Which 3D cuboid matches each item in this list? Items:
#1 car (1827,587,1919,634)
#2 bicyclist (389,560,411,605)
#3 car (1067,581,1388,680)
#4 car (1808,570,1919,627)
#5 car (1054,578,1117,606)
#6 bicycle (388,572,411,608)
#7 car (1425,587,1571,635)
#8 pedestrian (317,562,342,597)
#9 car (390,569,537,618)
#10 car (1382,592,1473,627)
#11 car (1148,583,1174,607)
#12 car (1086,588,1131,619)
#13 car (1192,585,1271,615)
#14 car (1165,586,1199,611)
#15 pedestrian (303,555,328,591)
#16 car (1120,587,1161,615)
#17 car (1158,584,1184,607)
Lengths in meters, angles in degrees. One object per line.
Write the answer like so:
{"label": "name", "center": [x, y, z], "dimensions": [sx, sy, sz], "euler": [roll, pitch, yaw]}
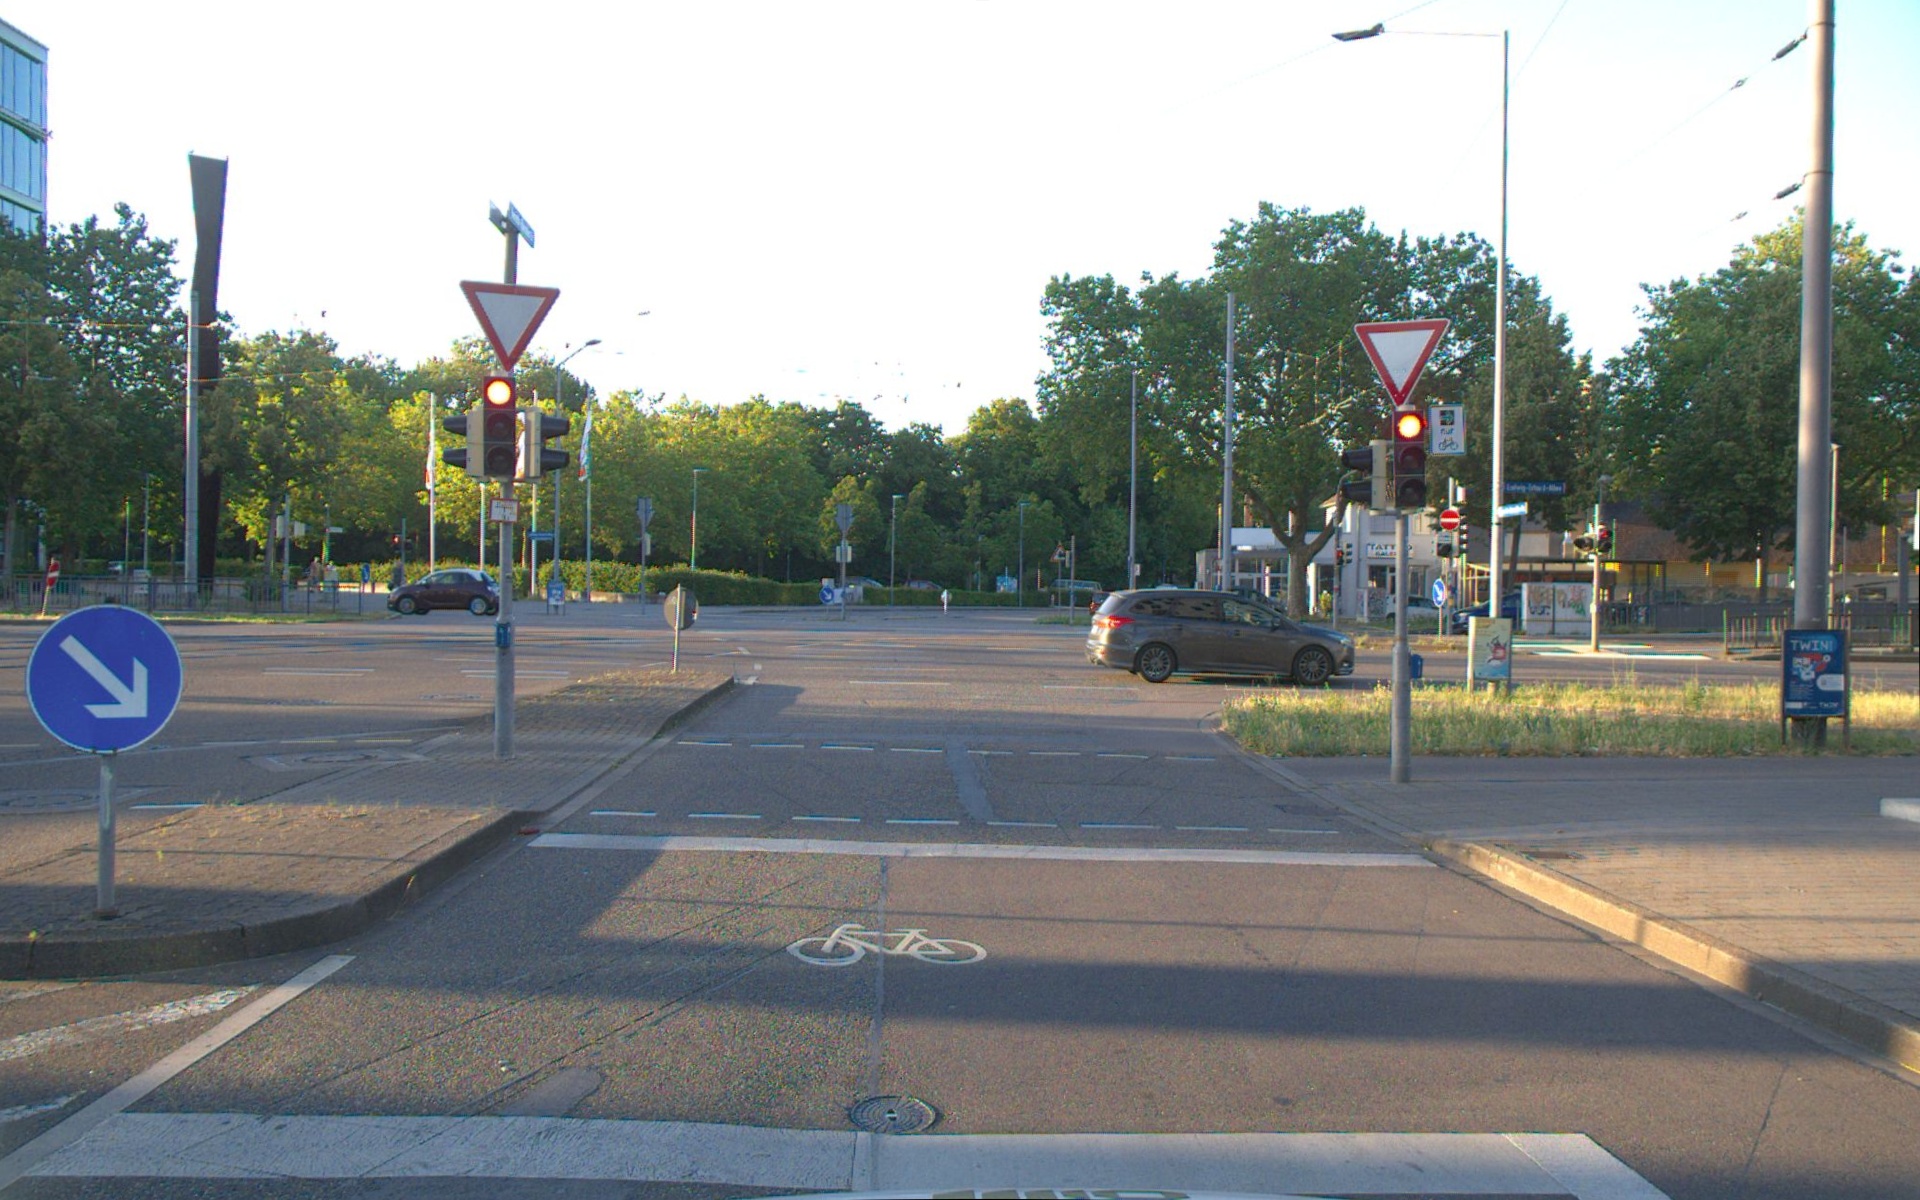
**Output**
{"label": "car", "center": [33.426, 0.392, 58.005], "dimensions": [4.997, 1.579, 1.999], "euler": [1, -1, -2]}
{"label": "bicyclist", "center": [-21.719, -0.667, 64.160], "dimensions": [0.739, 1.739, 0.916], "euler": [1, 0, -17]}
{"label": "car", "center": [4.356, 0.488, 27.410], "dimensions": [4.911, 1.537, 1.986], "euler": [1, 0, -6]}
{"label": "car", "center": [43.673, -0.063, 78.687], "dimensions": [5.476, 2.596, 2.231], "euler": [1, 0, 7]}
{"label": "car", "center": [9.516, -0.591, 126.027], "dimensions": [4.675, 2.041, 2.000], "euler": [1, -1, 1]}
{"label": "bicycle", "center": [-21.731, -0.395, 64.179], "dimensions": [0.718, 1.364, 2.679], "euler": [1, 0, -16]}
{"label": "car", "center": [18.485, 0.376, 56.970], "dimensions": [4.380, 1.579, 2.000], "euler": [1, -1, 0]}
{"label": "pedestrian", "center": [-32.075, -1.034, 84.133], "dimensions": [0.844, 1.774, 0.829], "euler": [1, 0, 29]}
{"label": "car", "center": [-16.140, -0.188, 53.930], "dimensions": [4.246, 1.522, 1.802], "euler": [1, -1, -5]}
{"label": "car", "center": [20.445, 0.422, 72.483], "dimensions": [3.659, 1.465, 1.665], "euler": [1, -1, 9]}
{"label": "car", "center": [16.007, -0.364, 131.437], "dimensions": [1.823, 1.825, 4.003], "euler": [1, -1, 10]}
{"label": "car", "center": [8.628, 0.219, 95.813], "dimensions": [1.951, 1.691, 4.003], "euler": [0, -1, 14]}
{"label": "car", "center": [14.659, 0.022, 89.389], "dimensions": [4.129, 1.579, 2.001], "euler": [1, -1, 7]}
{"label": "car", "center": [15.562, -0.065, 115.834], "dimensions": [1.951, 1.691, 4.003], "euler": [0, -1, 14]}
{"label": "pedestrian", "center": [-32.471, -1.358, 83.302], "dimensions": [0.844, 1.774, 0.828], "euler": [1, 0, 31]}
{"label": "car", "center": [11.326, 0.093, 103.543], "dimensions": [1.951, 1.691, 4.003], "euler": [0, -1, 14]}
{"label": "car", "center": [17.416, -0.354, 136.353], "dimensions": [1.823, 1.825, 4.003], "euler": [0, -1, 12]}
